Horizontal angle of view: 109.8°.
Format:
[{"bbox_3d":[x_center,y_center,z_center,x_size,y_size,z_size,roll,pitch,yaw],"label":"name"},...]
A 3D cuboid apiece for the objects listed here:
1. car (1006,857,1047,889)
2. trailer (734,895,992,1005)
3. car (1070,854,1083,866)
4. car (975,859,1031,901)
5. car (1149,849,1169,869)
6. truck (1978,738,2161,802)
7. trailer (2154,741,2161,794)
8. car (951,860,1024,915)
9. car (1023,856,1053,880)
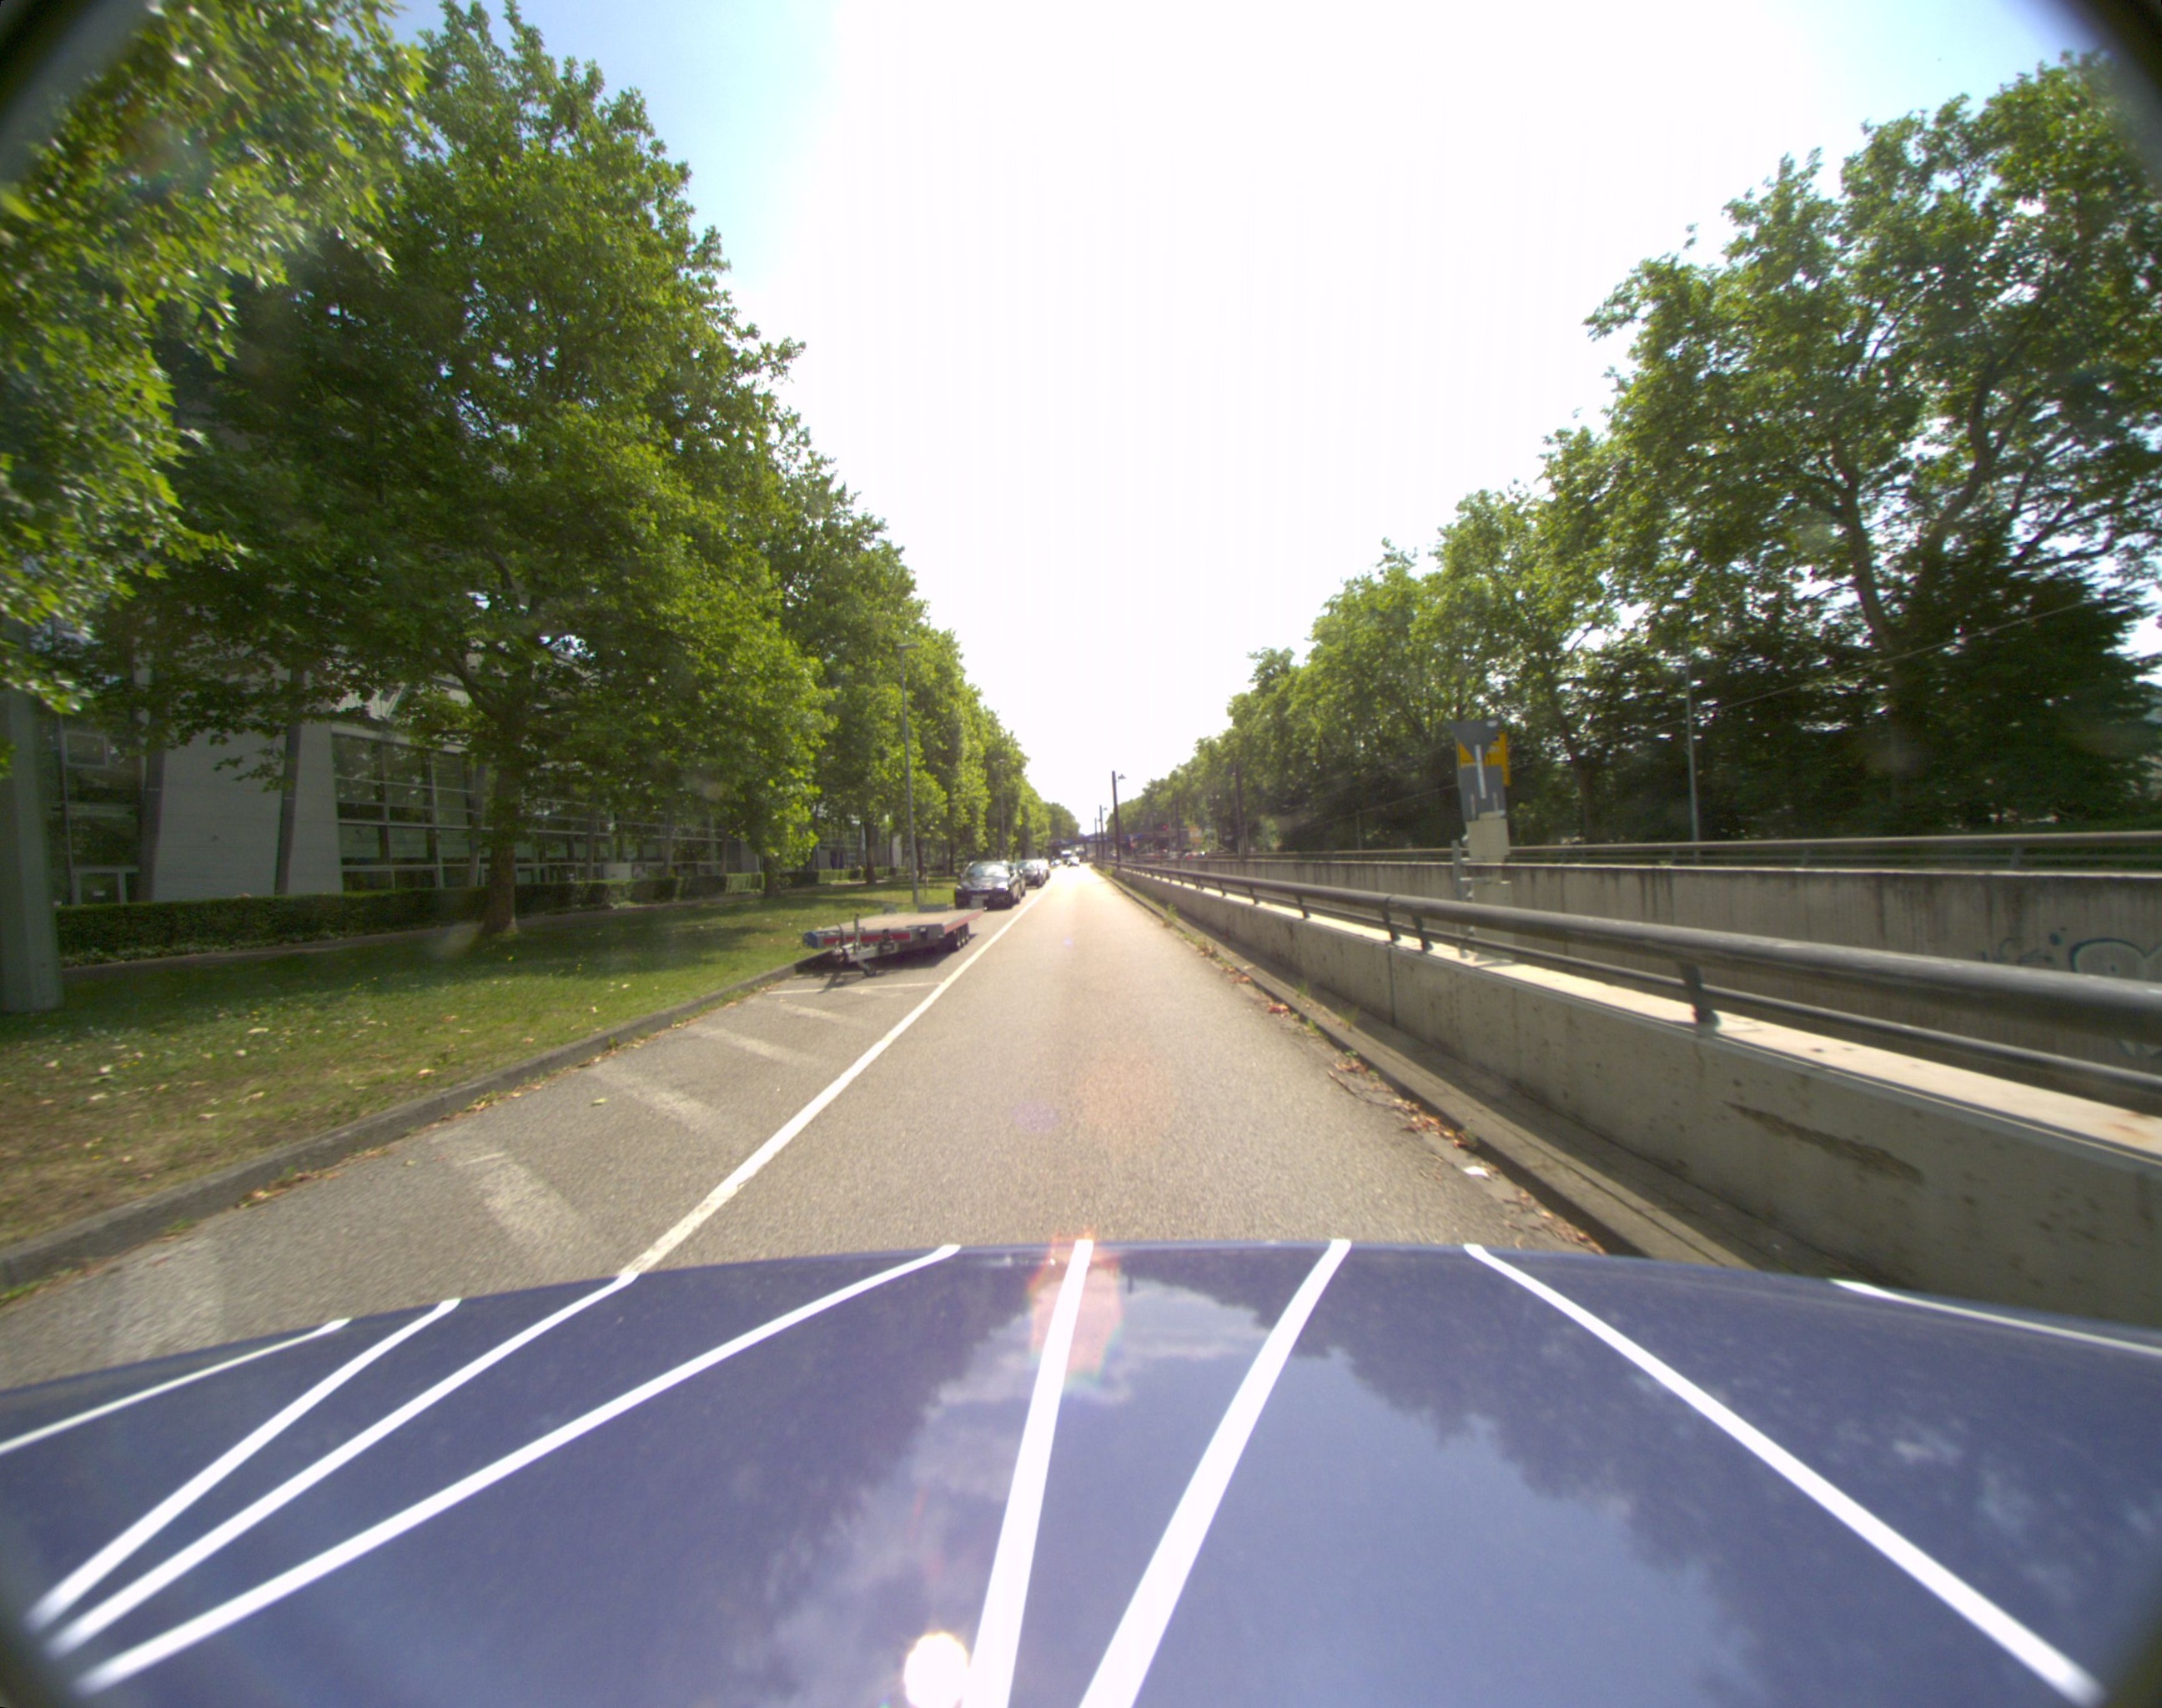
[{"bbox_3d":[-2.907,0.999,40.976,1.809,1.496,3.734,-4,1,1],"label":"car"},{"bbox_3d":[-3.122,1.383,12.898,2.303,0.823,6.819,-3,1,1],"label":"trailer"},{"bbox_3d":[-0.675,0.967,122.331,1.998,1.711,4.304,-2,1,1],"label":"car"},{"bbox_3d":[-3.219,1.055,32.022,1.809,1.496,3.734,-4,1,1],"label":"car"},{"bbox_3d":[8.159,0.502,79.896,1.713,1.870,4.095,-2,1,1],"label":"car"},{"bbox_3d":[69.373,-5.744,53.577,3.065,3.640,7.704,-3,1,-44],"label":"truck"},{"bbox_3d":[75.080,-5.850,47.527,2.873,3.478,8.870,-3,1,-43],"label":"trailer"},{"bbox_3d":[-2.986,1.034,24.963,1.809,1.496,3.734,-4,1,1],"label":"car"},{"bbox_3d":[-3.040,0.969,54.888,1.809,1.496,3.734,-4,1,1],"label":"car"}]
